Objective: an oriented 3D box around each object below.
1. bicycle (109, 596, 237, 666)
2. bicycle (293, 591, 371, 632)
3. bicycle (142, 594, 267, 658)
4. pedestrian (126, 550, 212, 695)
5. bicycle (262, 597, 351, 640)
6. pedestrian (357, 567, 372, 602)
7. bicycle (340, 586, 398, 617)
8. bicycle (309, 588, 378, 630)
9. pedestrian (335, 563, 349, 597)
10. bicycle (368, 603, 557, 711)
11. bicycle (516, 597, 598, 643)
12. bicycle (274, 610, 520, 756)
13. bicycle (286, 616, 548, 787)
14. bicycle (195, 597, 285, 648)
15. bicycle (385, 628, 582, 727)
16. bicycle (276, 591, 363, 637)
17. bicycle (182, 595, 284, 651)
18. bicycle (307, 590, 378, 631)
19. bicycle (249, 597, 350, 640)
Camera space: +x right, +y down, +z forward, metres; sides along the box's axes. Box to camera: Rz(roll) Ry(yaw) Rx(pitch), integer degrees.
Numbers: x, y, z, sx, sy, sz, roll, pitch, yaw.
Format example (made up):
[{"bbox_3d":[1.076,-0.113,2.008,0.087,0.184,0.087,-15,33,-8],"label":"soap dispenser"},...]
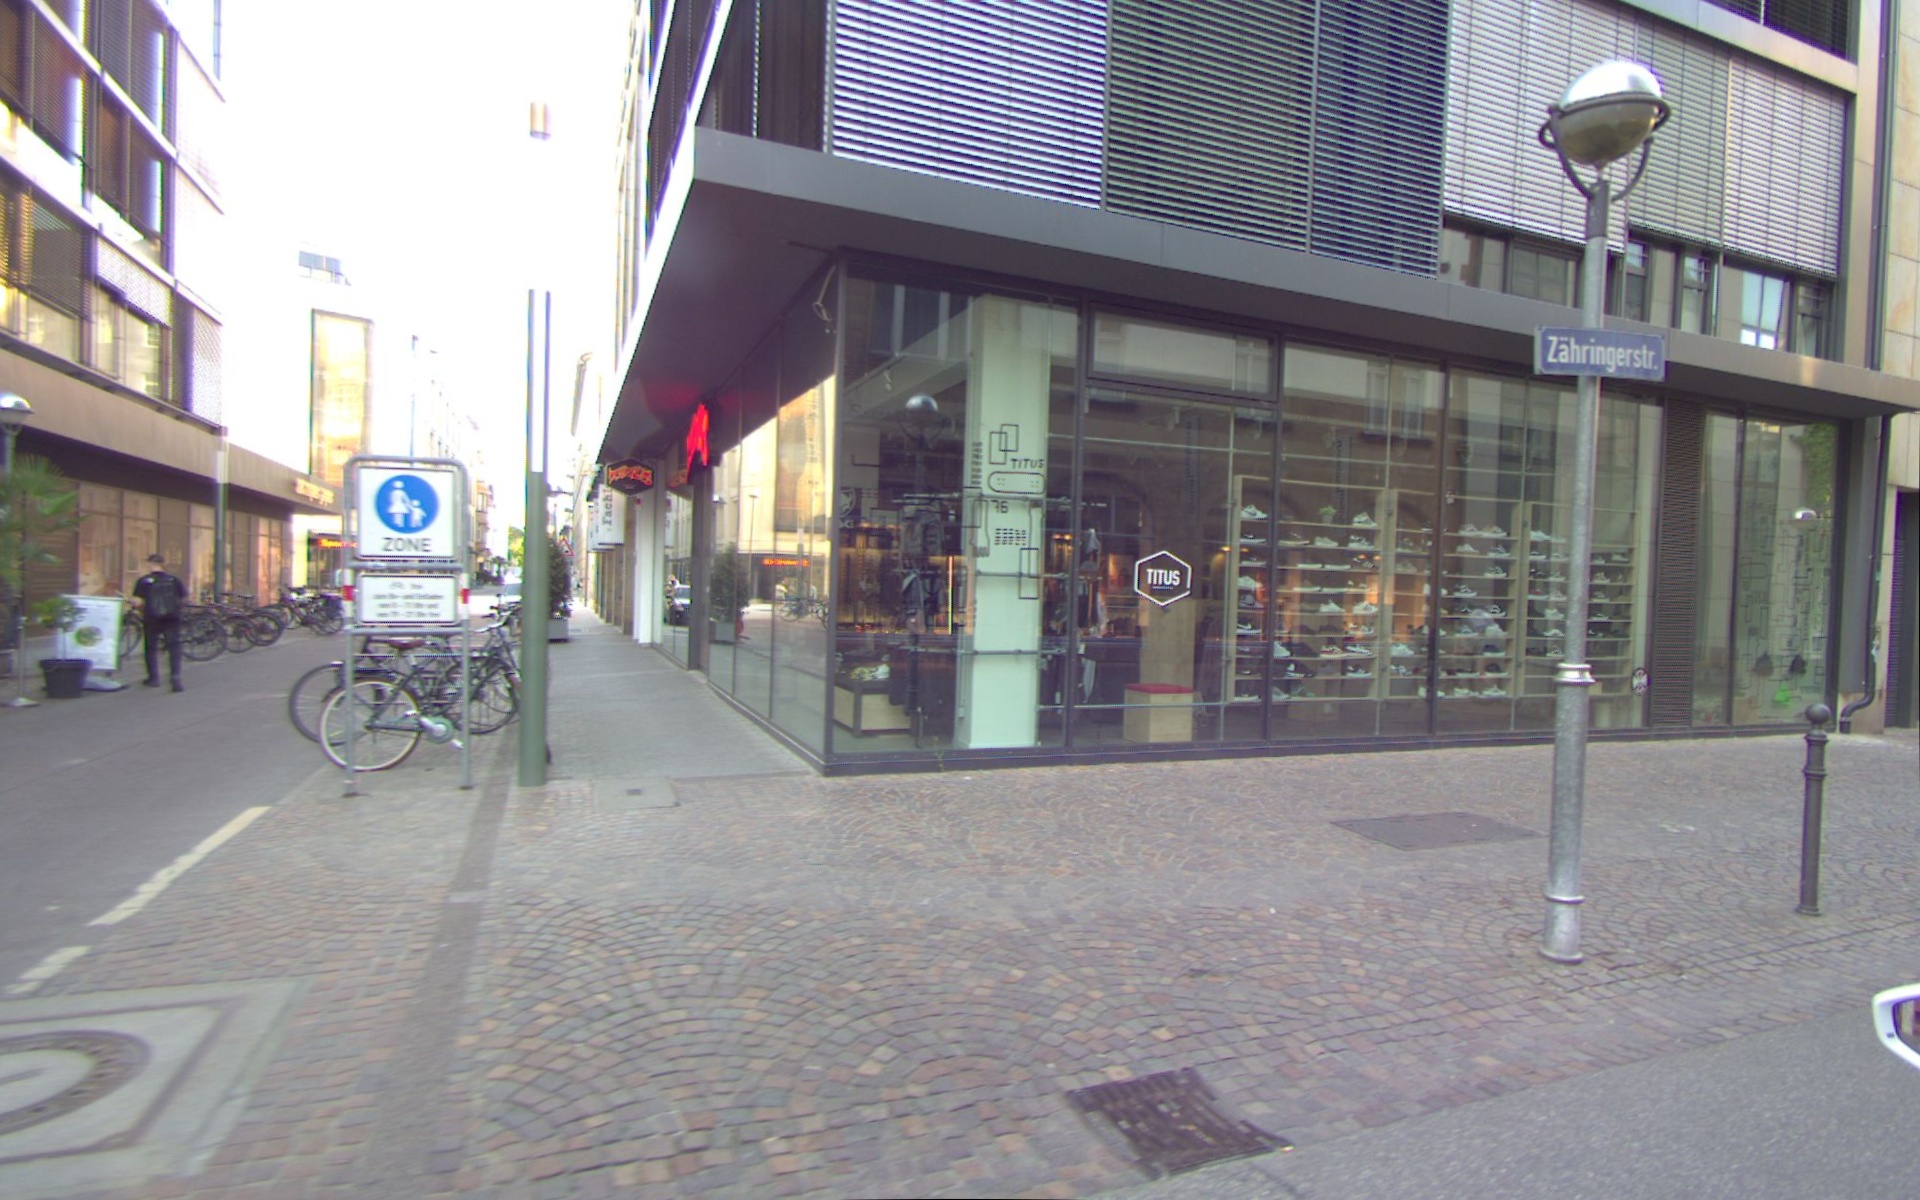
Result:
[{"bbox_3d":[-12.714,0.505,16.271,1.521,1.099,0.545,1,1,-24],"label":"bicycle"},{"bbox_3d":[-17.118,0.320,27.414,1.752,1.065,0.463,1,1,-24],"label":"bicycle"},{"bbox_3d":[-13.567,0.465,18.087,1.704,1.106,0.545,1,1,-24],"label":"bicycle"},{"bbox_3d":[-10.340,0.271,13.130,0.955,1.809,0.736,2,1,43],"label":"pedestrian"},{"bbox_3d":[-16.144,0.457,24.849,1.770,1.021,0.528,1,1,-24],"label":"bicycle"},{"bbox_3d":[-27.875,-0.730,47.023,0.372,1.594,0.478,2,1,16],"label":"pedestrian"},{"bbox_3d":[-21.089,0.057,35.874,1.709,1.076,0.434,1,1,-24],"label":"bicycle"},{"bbox_3d":[-18.657,0.271,30.439,1.709,1.245,0.463,1,1,-24],"label":"bicycle"},{"bbox_3d":[-28.467,-0.923,46.256,0.474,1.573,0.430,1,1,-39],"label":"pedestrian"},{"bbox_3d":[-5.608,0.620,11.428,1.885,1.160,0.553,0,1,-24],"label":"bicycle"},{"bbox_3d":[-9.441,0.464,23.537,1.769,1.028,0.365,0,1,-24],"label":"bicycle"},{"bbox_3d":[-4.854,0.682,8.807,1.816,1.166,0.606,0,1,-24],"label":"bicycle"},{"bbox_3d":[-3.984,0.705,7.522,1.650,1.128,0.705,0,1,-24],"label":"bicycle"},{"bbox_3d":[-14.909,0.466,20.827,1.435,1.019,0.463,1,1,-24],"label":"bicycle"},{"bbox_3d":[-4.789,0.760,10.190,1.768,0.907,0.451,0,1,-24],"label":"bicycle"},{"bbox_3d":[-16.685,0.380,26.202,1.823,1.151,0.463,1,1,-24],"label":"bicycle"},{"bbox_3d":[-14.249,0.456,19.714,1.535,1.051,0.463,1,1,-24],"label":"bicycle"},{"bbox_3d":[-18.247,0.320,29.696,1.709,1.161,0.463,1,1,-24],"label":"bicycle"},{"bbox_3d":[-15.596,0.437,23.768,1.918,0.970,0.463,1,1,-24],"label":"bicycle"}]
